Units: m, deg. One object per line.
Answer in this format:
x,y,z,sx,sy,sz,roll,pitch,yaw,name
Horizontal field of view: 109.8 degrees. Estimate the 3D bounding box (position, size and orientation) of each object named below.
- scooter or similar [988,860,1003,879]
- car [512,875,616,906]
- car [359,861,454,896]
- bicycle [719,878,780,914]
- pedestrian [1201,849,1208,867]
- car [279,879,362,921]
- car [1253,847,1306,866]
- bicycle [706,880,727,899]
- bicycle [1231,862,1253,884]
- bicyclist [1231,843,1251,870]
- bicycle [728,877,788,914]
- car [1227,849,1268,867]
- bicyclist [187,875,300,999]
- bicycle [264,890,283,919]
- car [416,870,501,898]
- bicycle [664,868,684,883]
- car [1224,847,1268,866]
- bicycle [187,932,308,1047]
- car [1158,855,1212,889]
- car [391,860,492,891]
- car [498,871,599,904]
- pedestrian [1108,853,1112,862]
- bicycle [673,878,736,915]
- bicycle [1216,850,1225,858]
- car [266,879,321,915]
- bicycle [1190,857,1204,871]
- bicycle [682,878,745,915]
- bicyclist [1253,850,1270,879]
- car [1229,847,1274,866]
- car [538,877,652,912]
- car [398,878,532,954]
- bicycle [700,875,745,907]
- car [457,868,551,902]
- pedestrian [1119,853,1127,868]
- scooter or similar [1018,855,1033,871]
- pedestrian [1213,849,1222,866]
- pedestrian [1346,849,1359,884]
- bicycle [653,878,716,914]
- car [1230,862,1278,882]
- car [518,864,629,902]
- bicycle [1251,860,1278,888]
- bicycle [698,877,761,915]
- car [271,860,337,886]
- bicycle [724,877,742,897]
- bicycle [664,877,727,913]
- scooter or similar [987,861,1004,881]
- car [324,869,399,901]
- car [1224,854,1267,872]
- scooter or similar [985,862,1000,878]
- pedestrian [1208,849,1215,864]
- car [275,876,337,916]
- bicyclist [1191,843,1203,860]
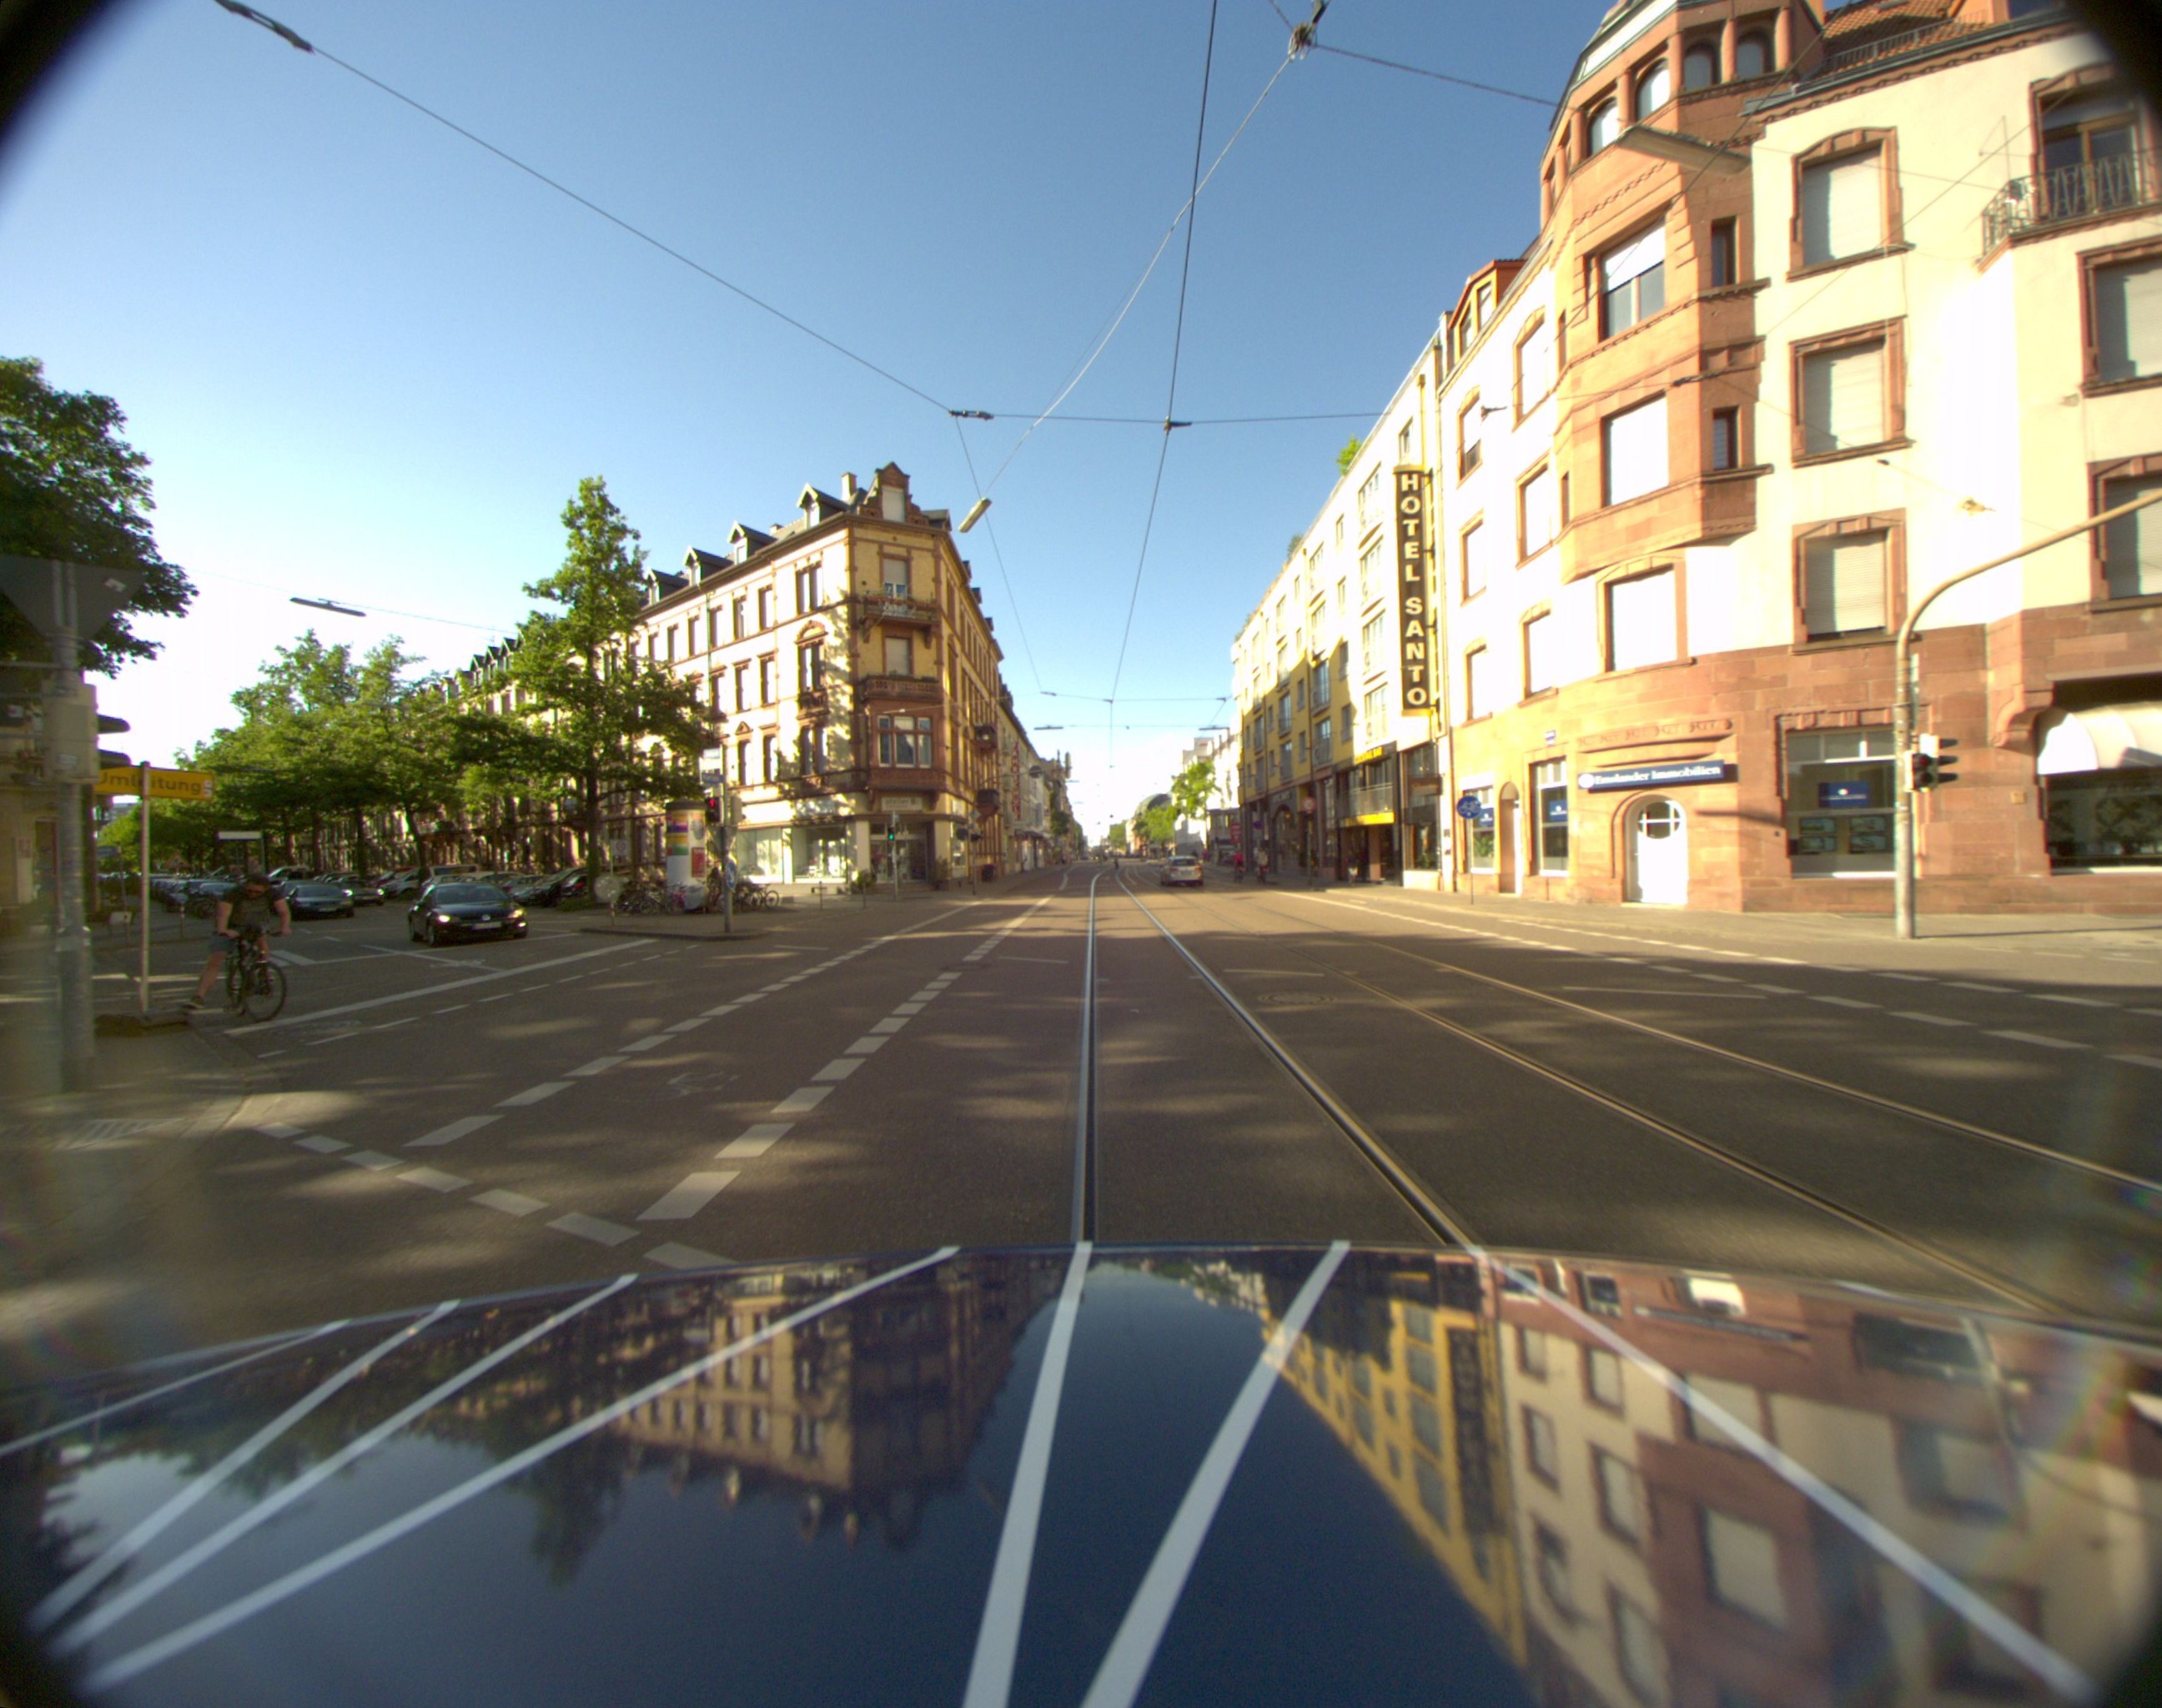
-5.439,0.962,48.347,0.792,1.142,0.790,3,1,-1,scooter or similar
-25.906,1.788,38.186,1.547,1.349,4.007,-1,0,31,car
-46.620,1.681,52.624,1.842,2.189,4.481,-1,1,32,car
-11.981,1.506,27.525,0.616,1.136,2.123,-1,2,23,bicycle
13.444,0.450,82.527,0.639,1.935,0.709,-2,1,0,pedestrian
-31.802,1.871,31.750,4.238,1.490,1.849,-1,2,38,car
17.357,0.194,66.620,4.244,1.540,1.784,-1,3,1,car
-18.912,1.848,39.386,1.283,0.951,0.398,-1,1,36,bicycle
8.471,0.981,40.002,0.732,1.059,2.061,-1,0,0,bicycle
8.432,0.111,40.093,0.737,1.373,1.468,-2,1,0,bicyclist
-11.571,1.476,27.300,0.616,1.136,2.123,-1,2,23,bicycle
16.376,0.398,74.940,3.698,1.663,1.785,-1,0,1,car
-10.024,0.937,9.104,1.132,1.335,0.839,-1,1,42,bicyclist
-31.039,1.923,29.200,1.873,1.037,0.399,-1,1,41,bicycle
-38.518,1.823,47.096,1.547,1.516,3.691,-1,0,32,car
-22.648,1.191,42.271,1.342,0.793,0.398,-1,1,36,bicycle
17.162,0.273,79.185,4.244,1.801,1.785,-2,0,1,car
-10.047,1.563,9.160,2.091,1.039,0.849,-2,2,41,bicycle
4.953,0.810,36.784,1.990,1.493,4.308,-1,0,0,car
-41.361,1.364,49.254,1.547,1.822,4.680,-1,0,36,car
-27.769,1.696,39.733,1.547,1.516,4.007,-1,0,31,car
5.335,0.714,141.063,0.716,1.635,0.400,-1,1,4,pedestrian
-13.843,1.547,28.020,0.616,1.136,2.123,-1,3,23,bicycle
16.388,0.001,89.505,0.525,1.030,1.878,-1,0,-6,bicycle
-39.949,2.126,38.603,4.238,1.595,1.849,-1,0,45,car
9.466,0.820,61.973,0.732,1.082,2.061,-2,0,0,bicycle
-13.379,1.533,27.725,0.616,1.136,2.123,-1,3,23,bicycle
8.703,0.478,36.619,0.591,1.368,0.679,-2,1,0,bicyclist
17.264,0.276,77.041,4.243,1.801,1.785,-2,0,2,car
-22.408,1.819,35.155,1.820,1.363,4.007,-1,0,31,car
-14.981,1.389,18.393,4.238,1.490,1.849,-1,2,43,car
-14.405,1.469,30.592,0.543,1.136,1.619,-1,3,23,bicycle
-32.271,1.702,42.615,1.516,1.747,3.872,-1,0,31,car
4.384,0.693,78.388,0.780,1.551,0.650,-1,1,3,pedestrian
-5.056,0.800,69.534,0.410,1.273,1.287,29,0,17,scooter or similar
14.546,0.399,81.191,0.715,1.754,0.779,-2,1,-7,pedestrian
11.004,0.499,30.783,0.404,1.402,0.517,-1,1,25,pedestrian
-14.906,1.557,28.630,0.616,1.136,2.123,-1,3,23,bicycle
16.446,1.708,72.386,4.244,1.802,1.784,-1,3,1,car
-24.267,1.367,36.457,1.820,1.592,4.007,-1,0,31,car
8.819,0.947,36.533,0.732,1.177,2.061,-2,1,0,bicycle
-12.675,1.490,27.464,0.616,1.136,2.123,-1,3,23,bicycle
-71.825,1.744,70.262,1.547,2.308,4.008,-1,0,35,car
-17.575,1.677,38.373,0.996,0.998,0.398,-1,1,36,bicycle
-14.366,1.523,28.379,0.616,1.136,2.123,-1,3,23,bicycle
-5.065,1.022,45.049,0.899,1.142,0.547,3,1,-1,scooter or similar
-39.098,1.654,41.271,4.239,1.596,1.848,-1,2,31,car
17.740,0.936,82.185,4.244,1.753,1.785,-2,1,1,car
-5.499,1.003,47.062,0.792,0.952,0.680,3,1,-1,scooter or similar
14.132,0.253,82.200,0.573,1.608,0.499,-1,1,0,pedestrian
-35.855,1.902,35.175,4.238,1.596,1.849,-1,2,45,car
9.451,-0.176,61.996,0.726,1.373,1.227,-2,1,0,bicyclist
